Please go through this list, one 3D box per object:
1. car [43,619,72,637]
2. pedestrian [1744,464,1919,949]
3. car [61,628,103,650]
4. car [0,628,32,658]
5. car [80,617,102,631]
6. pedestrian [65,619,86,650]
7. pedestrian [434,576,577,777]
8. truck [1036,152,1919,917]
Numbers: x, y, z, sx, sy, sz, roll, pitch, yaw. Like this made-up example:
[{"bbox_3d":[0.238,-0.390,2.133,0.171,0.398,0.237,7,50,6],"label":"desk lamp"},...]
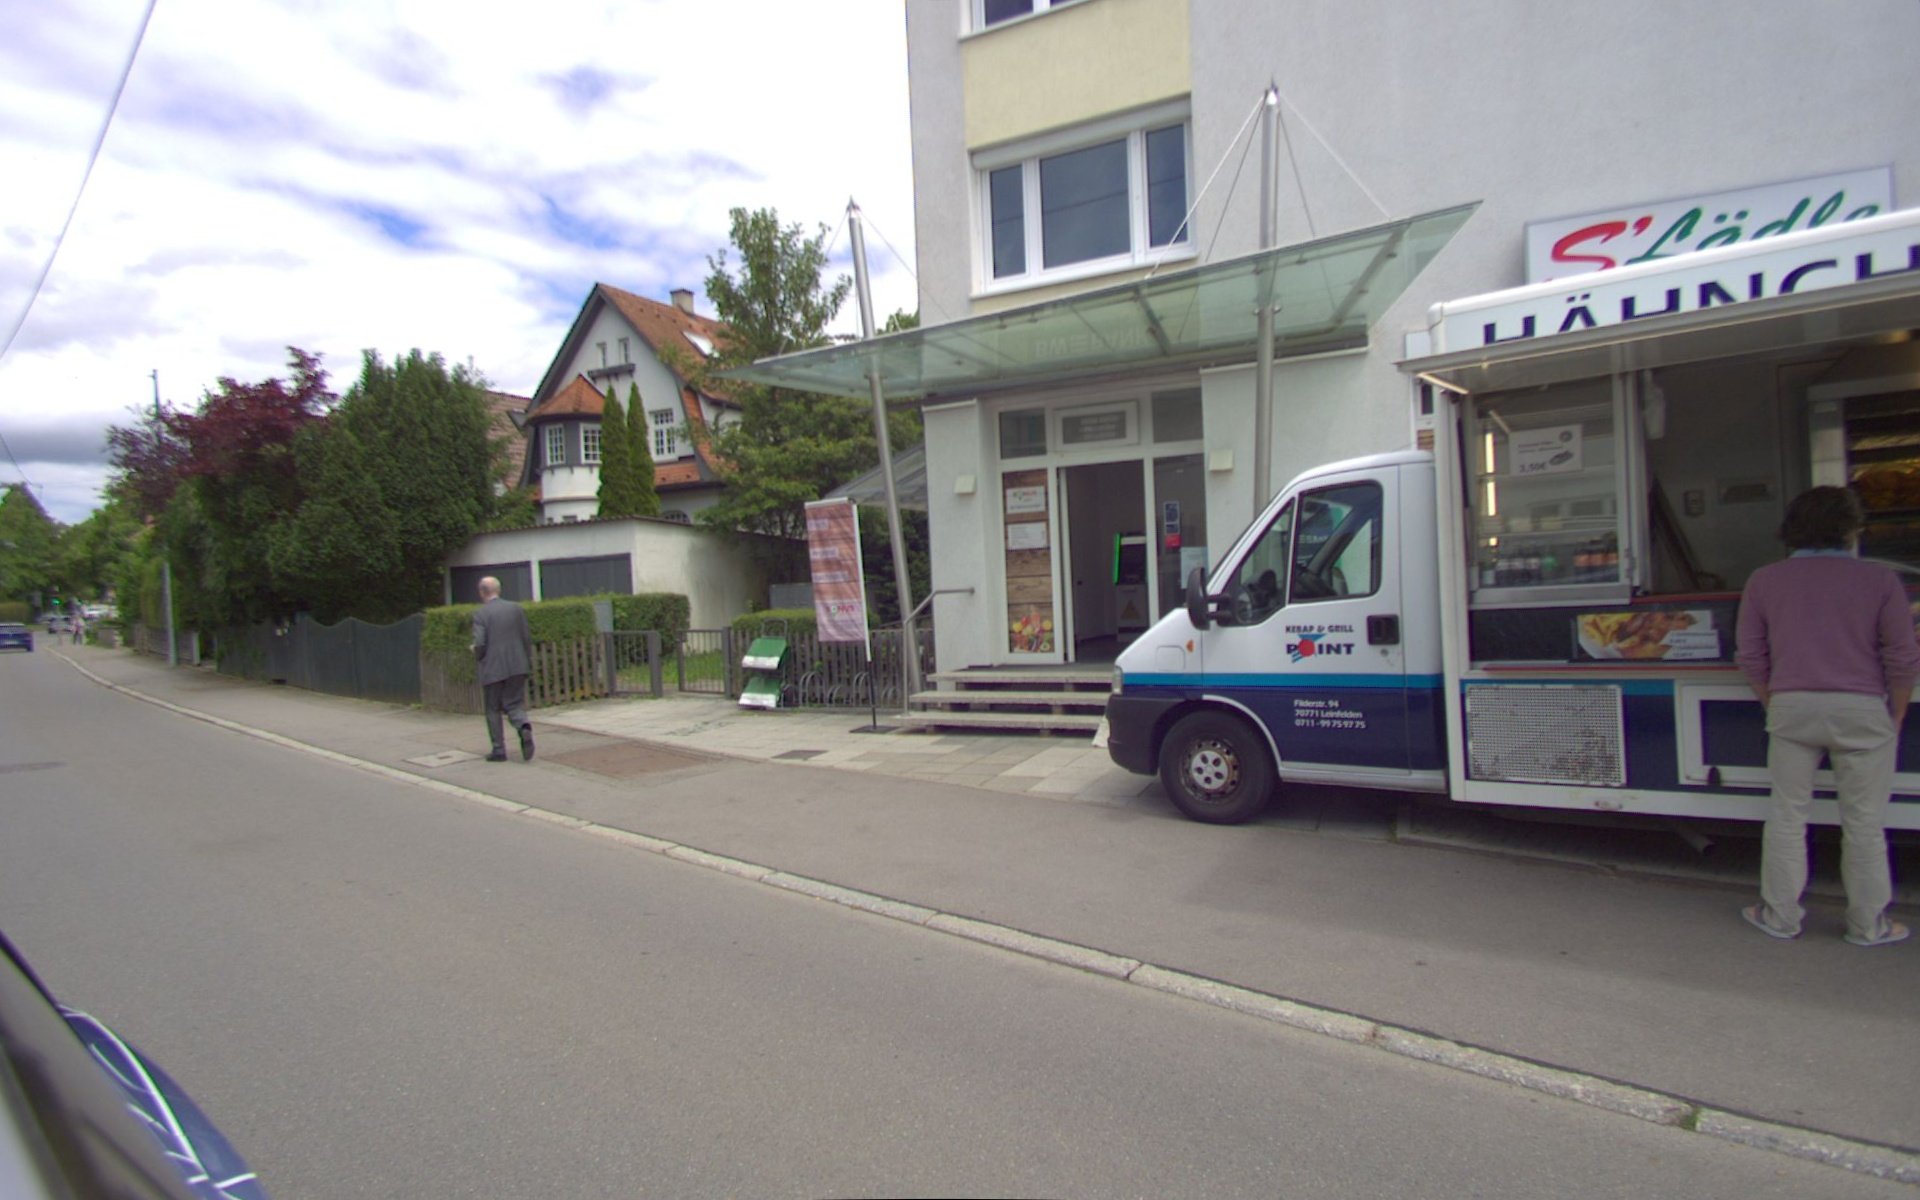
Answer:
[{"bbox_3d":[-84.068,2.607,94.249,4.140,1.668,1.819,-1,-2,45],"label":"car"},{"bbox_3d":[3.349,0.371,3.795,0.596,1.707,0.397,-2,3,37],"label":"pedestrian"},{"bbox_3d":[-65.395,2.860,75.426,1.794,1.361,3.401,-5,3,-32],"label":"car"},{"bbox_3d":[-47.746,2.154,50.691,1.673,1.443,3.933,-1,0,-40],"label":"car"},{"bbox_3d":[-114.451,3.144,133.295,1.970,1.709,4.004,-5,3,-43],"label":"car"},{"bbox_3d":[-51.049,1.981,58.404,0.810,1.757,0.605,-5,3,-42],"label":"pedestrian"},{"bbox_3d":[-4.203,0.661,9.347,1.109,1.699,0.715,-1,3,42],"label":"pedestrian"},{"bbox_3d":[3.897,-0.265,5.092,6.696,2.861,2.450,-2,1,37],"label":"truck"}]
